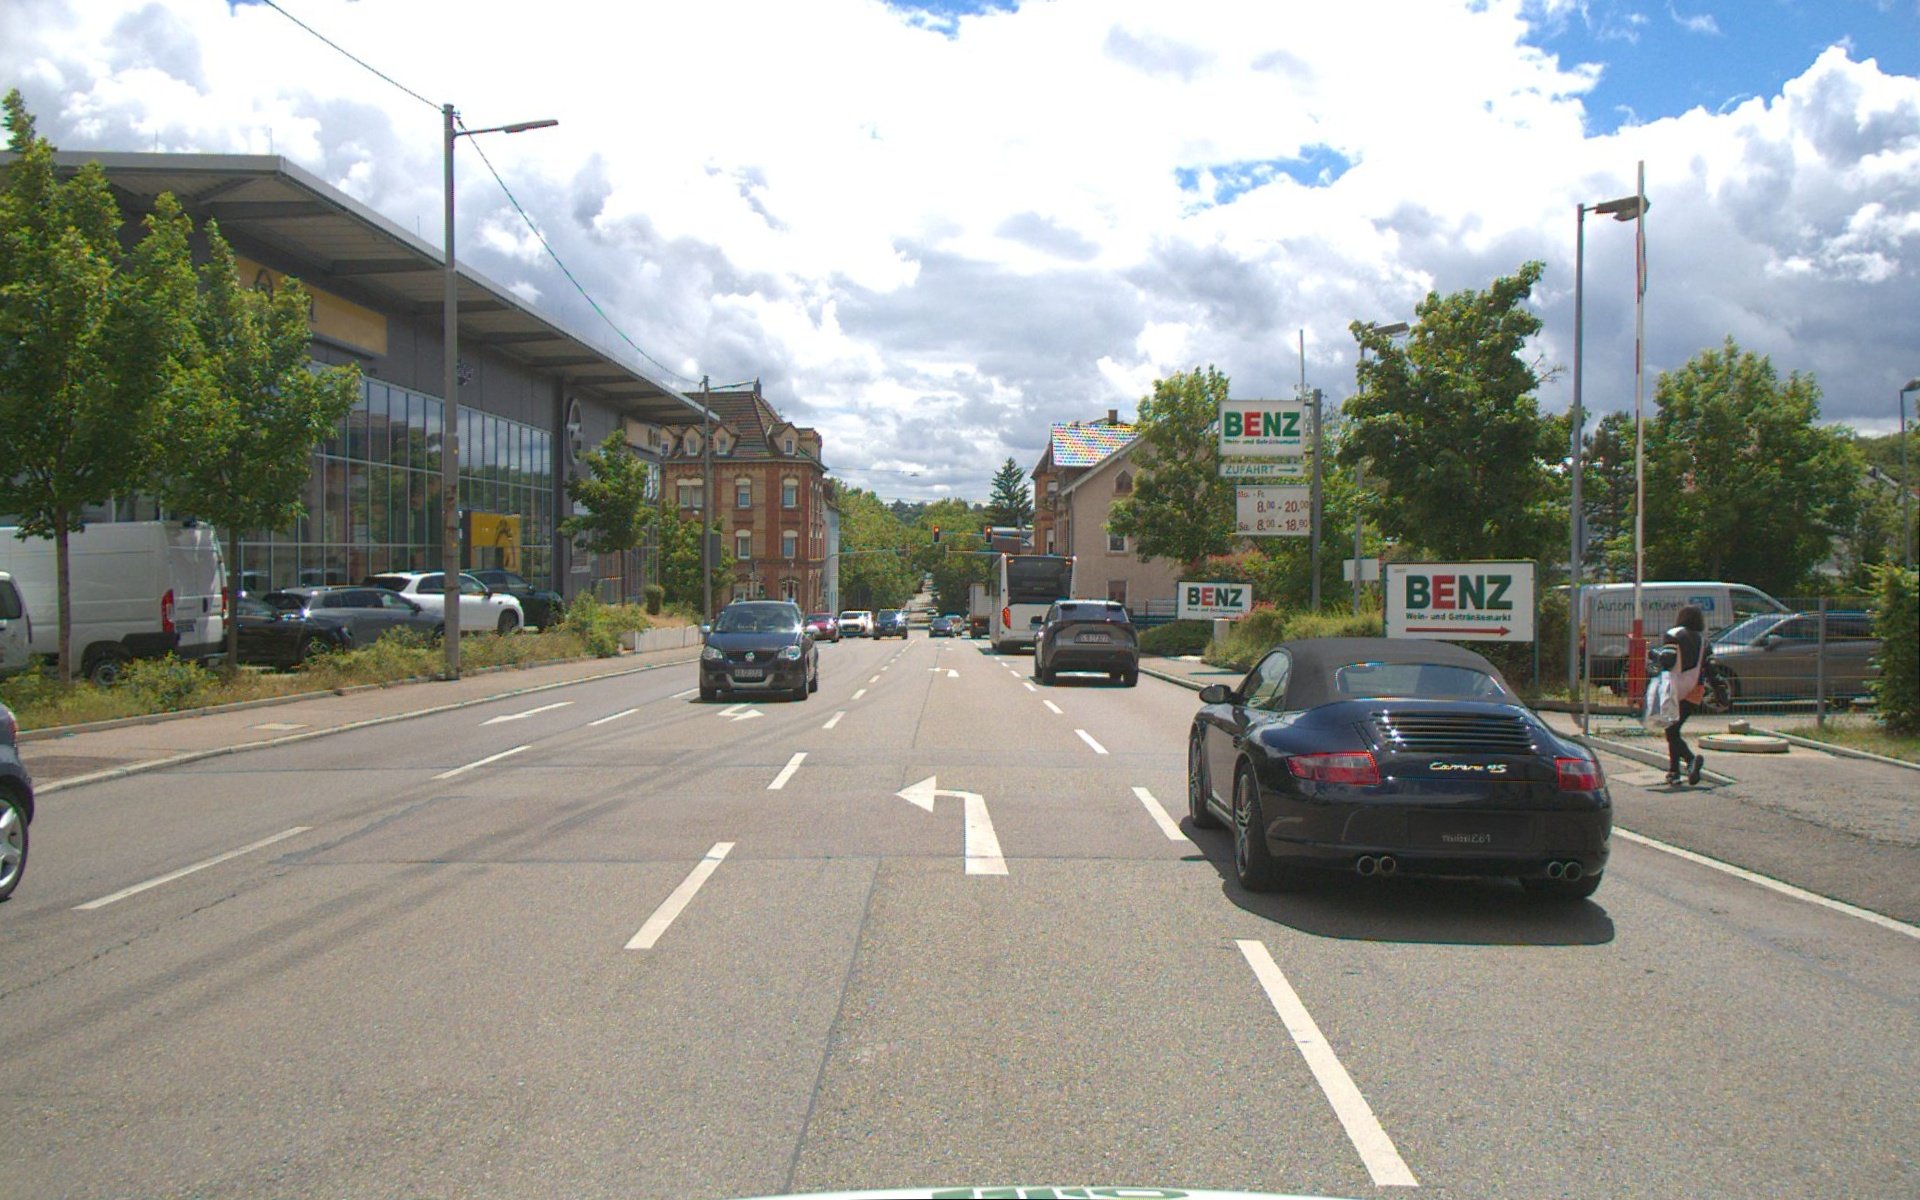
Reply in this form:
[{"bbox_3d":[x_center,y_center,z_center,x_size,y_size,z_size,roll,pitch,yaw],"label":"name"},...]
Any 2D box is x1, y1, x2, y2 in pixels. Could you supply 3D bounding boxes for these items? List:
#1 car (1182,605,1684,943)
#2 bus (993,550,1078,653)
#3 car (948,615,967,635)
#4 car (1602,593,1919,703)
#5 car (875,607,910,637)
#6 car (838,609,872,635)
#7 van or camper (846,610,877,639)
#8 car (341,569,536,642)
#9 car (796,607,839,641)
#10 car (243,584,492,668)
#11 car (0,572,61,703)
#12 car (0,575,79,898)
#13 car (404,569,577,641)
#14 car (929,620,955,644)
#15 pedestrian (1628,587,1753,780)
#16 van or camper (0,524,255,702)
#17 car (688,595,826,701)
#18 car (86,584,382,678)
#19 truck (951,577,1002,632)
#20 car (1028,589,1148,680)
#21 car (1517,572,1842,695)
[{"bbox_3d":[2.434,0.798,9.647,1.890,1.400,4.210,0,2,3],"label":"car"},{"bbox_3d":[2.570,-0.137,59.398,2.744,3.253,12.200,0,2,1],"label":"bus"},{"bbox_3d":[-0.289,2.519,165.792,1.795,1.914,3.999,-1,1,-2],"label":"car"},{"bbox_3d":[12.357,0.704,25.210,4.342,1.507,1.999,-1,-1,-1],"label":"car"},{"bbox_3d":[-3.705,1.193,90.747,1.826,1.567,4.105,0,0,-1],"label":"car"},{"bbox_3d":[-6.416,1.329,101.698,1.826,1.567,4.106,0,0,0],"label":"car"},{"bbox_3d":[-6.831,1.695,114.911,1.930,1.948,5.127,0,0,-1],"label":"van or camper"},{"bbox_3d":[-12.189,0.138,38.966,1.891,1.600,4.552,0,0,23],"label":"car"},{"bbox_3d":[-6.766,1.119,78.633,1.834,1.517,3.846,-3,0,-3],"label":"car"},{"bbox_3d":[-11.980,0.459,33.804,1.858,1.476,4.827,1,2,27],"label":"car"},{"bbox_3d":[-14.766,0.488,22.569,3.903,1.735,2.002,0,2,5],"label":"car"},{"bbox_3d":[-5.666,0.734,7.017,1.708,1.623,4.041,-2,1,-1],"label":"car"},{"bbox_3d":[-12.346,0.070,43.806,1.954,1.728,4.482,1,2,25],"label":"car"},{"bbox_3d":[-1.337,2.295,120.678,1.826,1.695,4.258,0,0,-1],"label":"car"},{"bbox_3d":[6.127,0.676,13.907,0.673,1.563,0.856,0,1,-1],"label":"pedestrian"},{"bbox_3d":[-13.711,0.148,25.182,4.924,2.575,2.318,0,2,-1],"label":"van or camper"},{"bbox_3d":[-3.154,0.700,26.431,1.792,1.535,4.275,-1,0,-2],"label":"car"},{"bbox_3d":[-12.771,0.502,29.249,4.439,1.535,1.913,-1,0,-43],"label":"car"},{"bbox_3d":[0.934,0.294,100.430,2.613,3.162,9.030,-1,-1,-2],"label":"truck"},{"bbox_3d":[2.465,0.631,32.830,1.892,1.610,4.207,0,2,-2],"label":"car"},{"bbox_3d":[12.124,0.541,28.037,4.619,1.881,2.085,-1,-1,-8],"label":"car"}]
